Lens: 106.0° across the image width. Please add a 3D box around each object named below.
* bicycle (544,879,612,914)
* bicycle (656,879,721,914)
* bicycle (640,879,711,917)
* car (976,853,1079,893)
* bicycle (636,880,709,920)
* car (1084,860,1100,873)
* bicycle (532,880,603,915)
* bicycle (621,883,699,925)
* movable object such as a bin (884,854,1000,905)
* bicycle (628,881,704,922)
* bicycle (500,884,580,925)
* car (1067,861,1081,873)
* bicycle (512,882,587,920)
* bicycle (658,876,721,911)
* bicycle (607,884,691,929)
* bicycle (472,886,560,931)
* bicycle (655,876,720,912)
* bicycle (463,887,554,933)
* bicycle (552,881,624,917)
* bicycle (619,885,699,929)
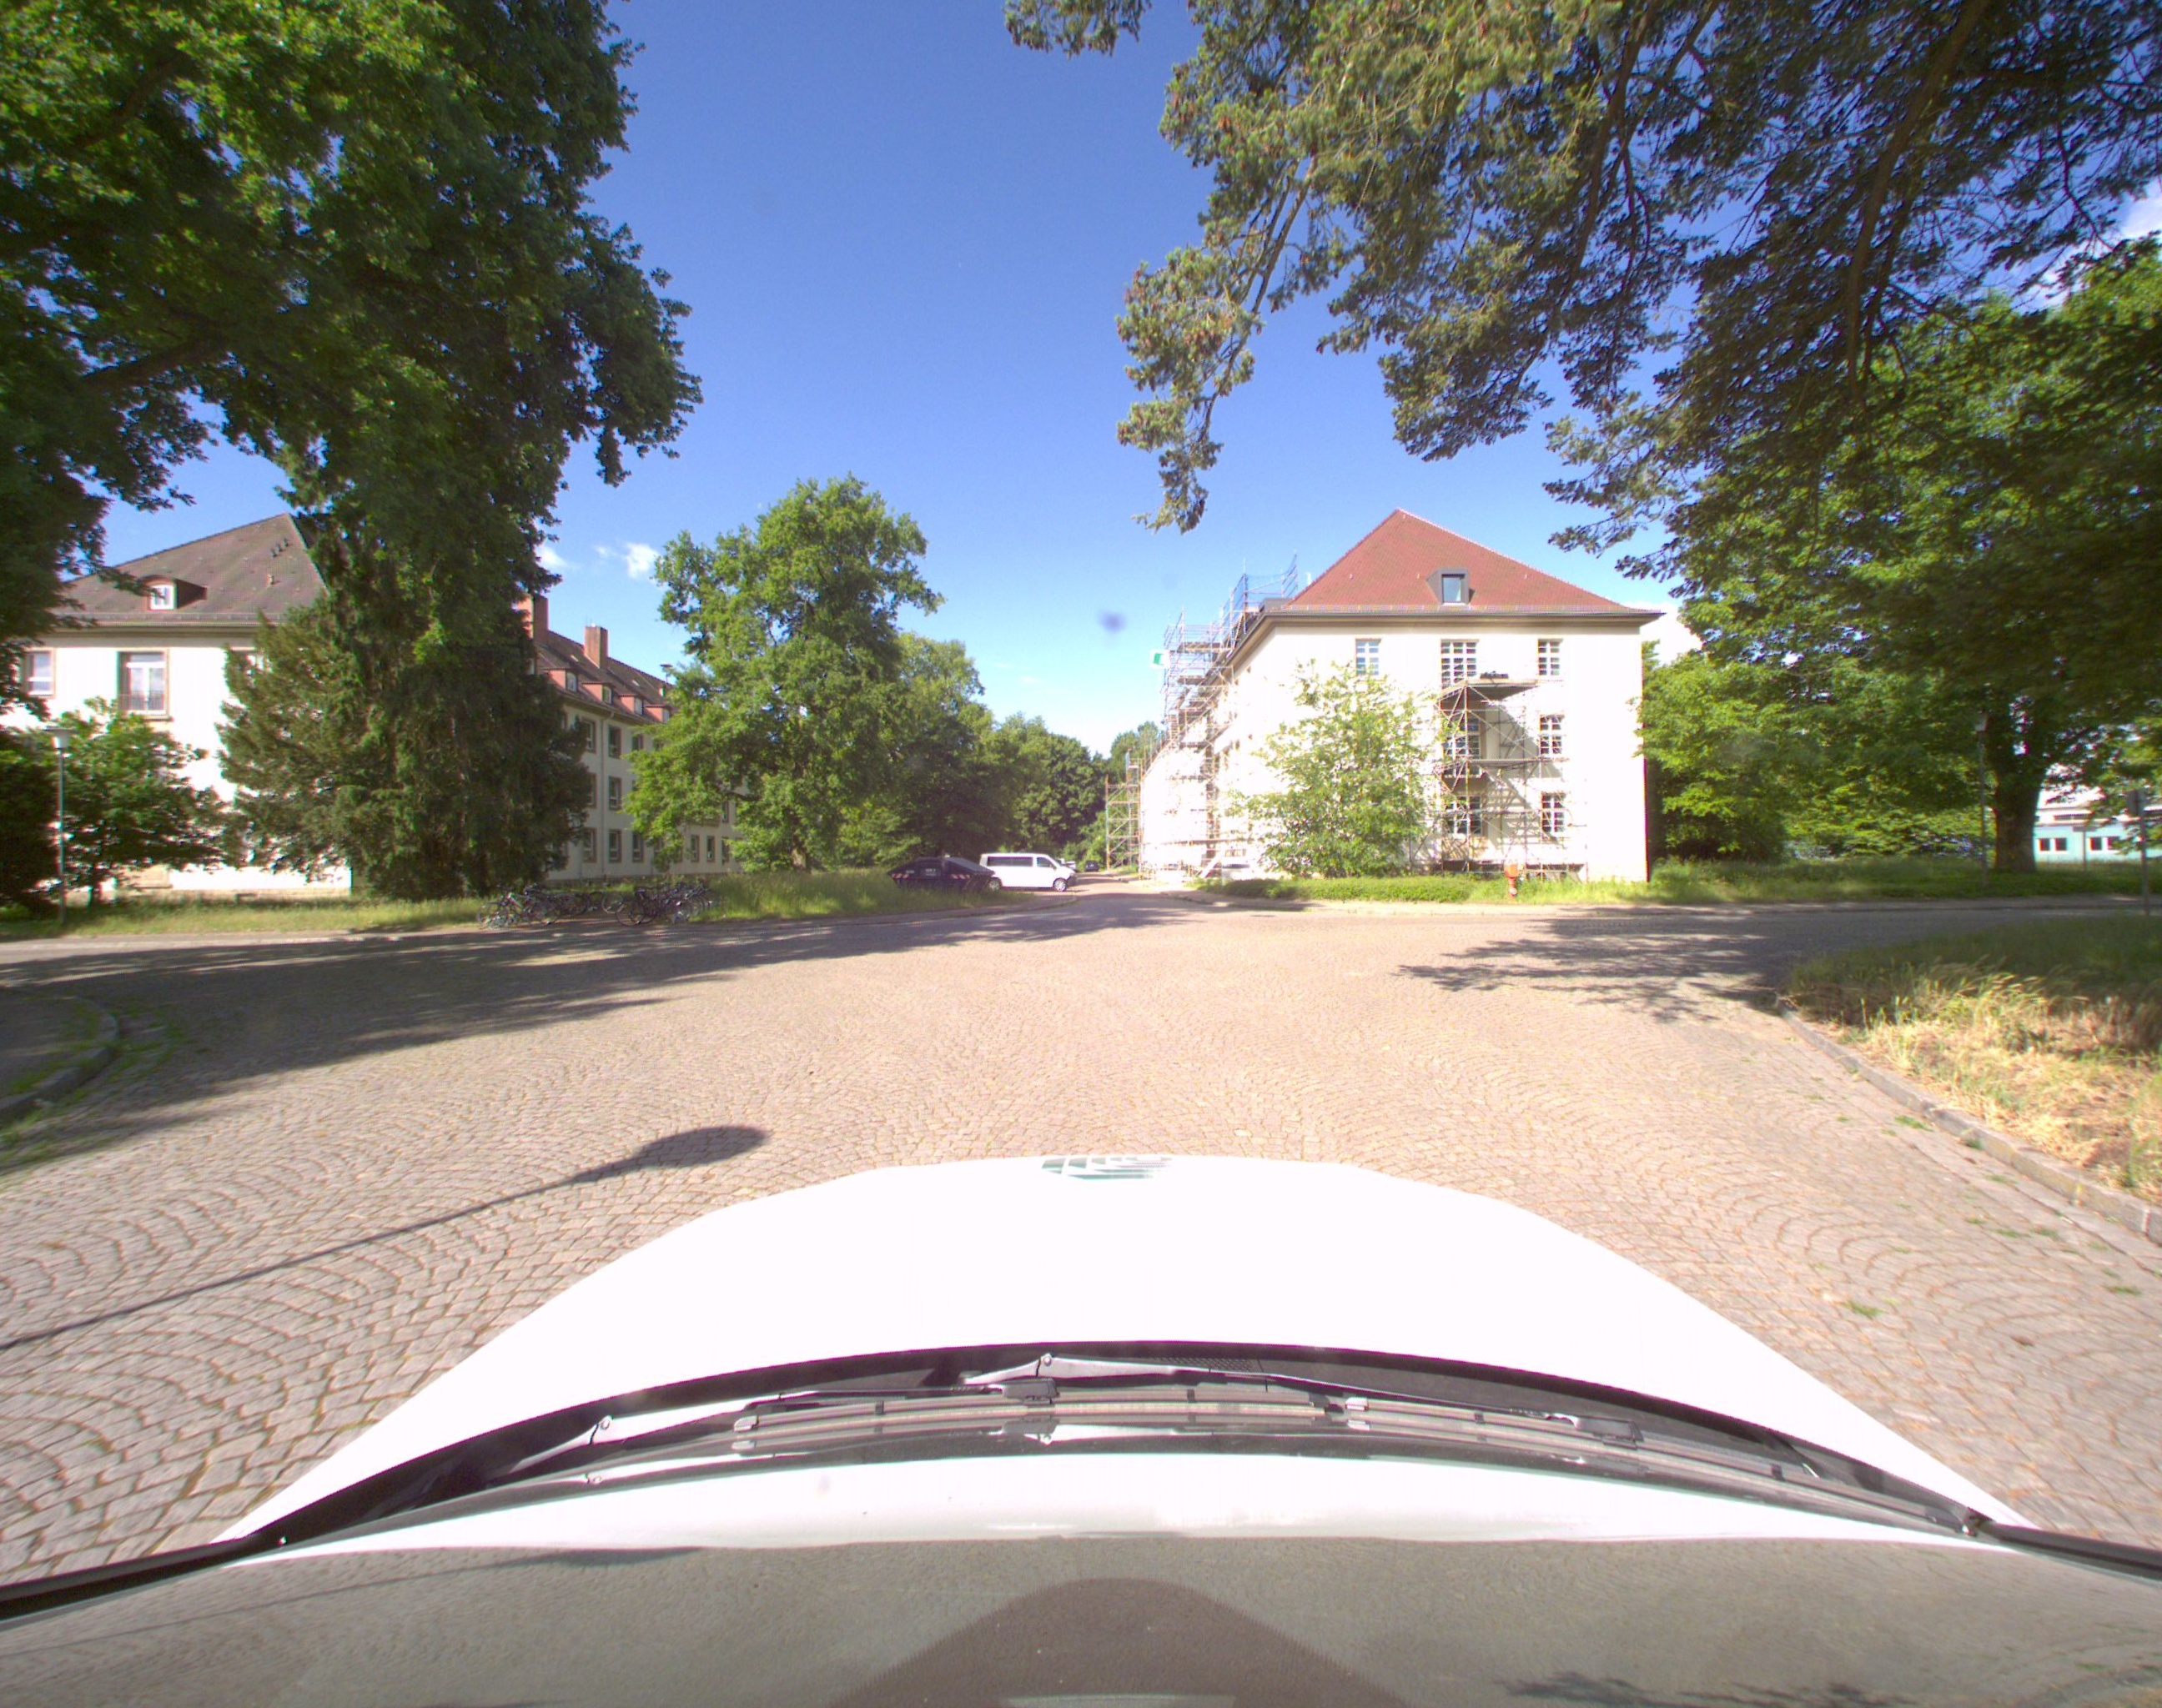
[{"bbox_3d":[-17.294,1.452,28.043,1.922,1.103,0.566,-1,1,-25],"label":"bicycle"},{"bbox_3d":[-13.413,1.449,27.883,1.921,1.058,0.472,-3,0,-22],"label":"bicycle"},{"bbox_3d":[-12.765,1.370,25.670,1.921,1.058,0.472,-3,0,-22],"label":"bicycle"},{"bbox_3d":[-2.760,0.982,42.685,5.220,2.016,1.949,-1,-1,-2],"label":"car"},{"bbox_3d":[-12.443,1.383,24.868,1.922,1.058,0.472,-3,0,-24],"label":"bicycle"},{"bbox_3d":[1.406,1.714,109.101,1.965,1.668,4.083,-1,-1,-2],"label":"car"},{"bbox_3d":[-17.071,1.437,27.105,1.919,1.103,0.566,-1,1,-21],"label":"bicycle"},{"bbox_3d":[-12.126,1.427,23.524,1.922,1.058,0.472,-3,0,-24],"label":"bicycle"},{"bbox_3d":[-4.998,0.916,29.527,3.537,1.745,2.034,-2,-1,17],"label":"movable object such as a bin"},{"bbox_3d":[-12.247,1.383,24.084,1.922,1.058,0.472,-3,0,-24],"label":"bicycle"},{"bbox_3d":[-16.065,1.473,24.235,1.924,1.103,0.565,-1,1,-29],"label":"bicycle"},{"bbox_3d":[-0.988,1.709,108.732,1.807,1.579,4.132,-1,-1,-1],"label":"car"},{"bbox_3d":[-16.615,1.453,25.518,1.924,1.103,0.565,-1,1,-29],"label":"bicycle"},{"bbox_3d":[-13.586,1.356,28.316,1.921,1.058,0.472,-3,0,-22],"label":"bicycle"},{"bbox_3d":[-11.651,1.398,21.991,1.925,1.058,0.471,-3,0,-31],"label":"bicycle"},{"bbox_3d":[-15.649,1.496,22.618,1.923,1.103,0.565,-1,1,-26],"label":"bicycle"},{"bbox_3d":[-13.228,1.339,27.422,1.921,1.058,0.472,-3,0,-22],"label":"bicycle"},{"bbox_3d":[-15.495,1.489,22.096,1.923,1.103,0.565,-1,1,-26],"label":"bicycle"},{"bbox_3d":[-16.096,1.464,26.618,1.919,1.103,0.566,-1,1,-21],"label":"bicycle"},{"bbox_3d":[-11.672,1.441,22.546,1.925,1.058,0.471,-3,0,-31],"label":"bicycle"}]
